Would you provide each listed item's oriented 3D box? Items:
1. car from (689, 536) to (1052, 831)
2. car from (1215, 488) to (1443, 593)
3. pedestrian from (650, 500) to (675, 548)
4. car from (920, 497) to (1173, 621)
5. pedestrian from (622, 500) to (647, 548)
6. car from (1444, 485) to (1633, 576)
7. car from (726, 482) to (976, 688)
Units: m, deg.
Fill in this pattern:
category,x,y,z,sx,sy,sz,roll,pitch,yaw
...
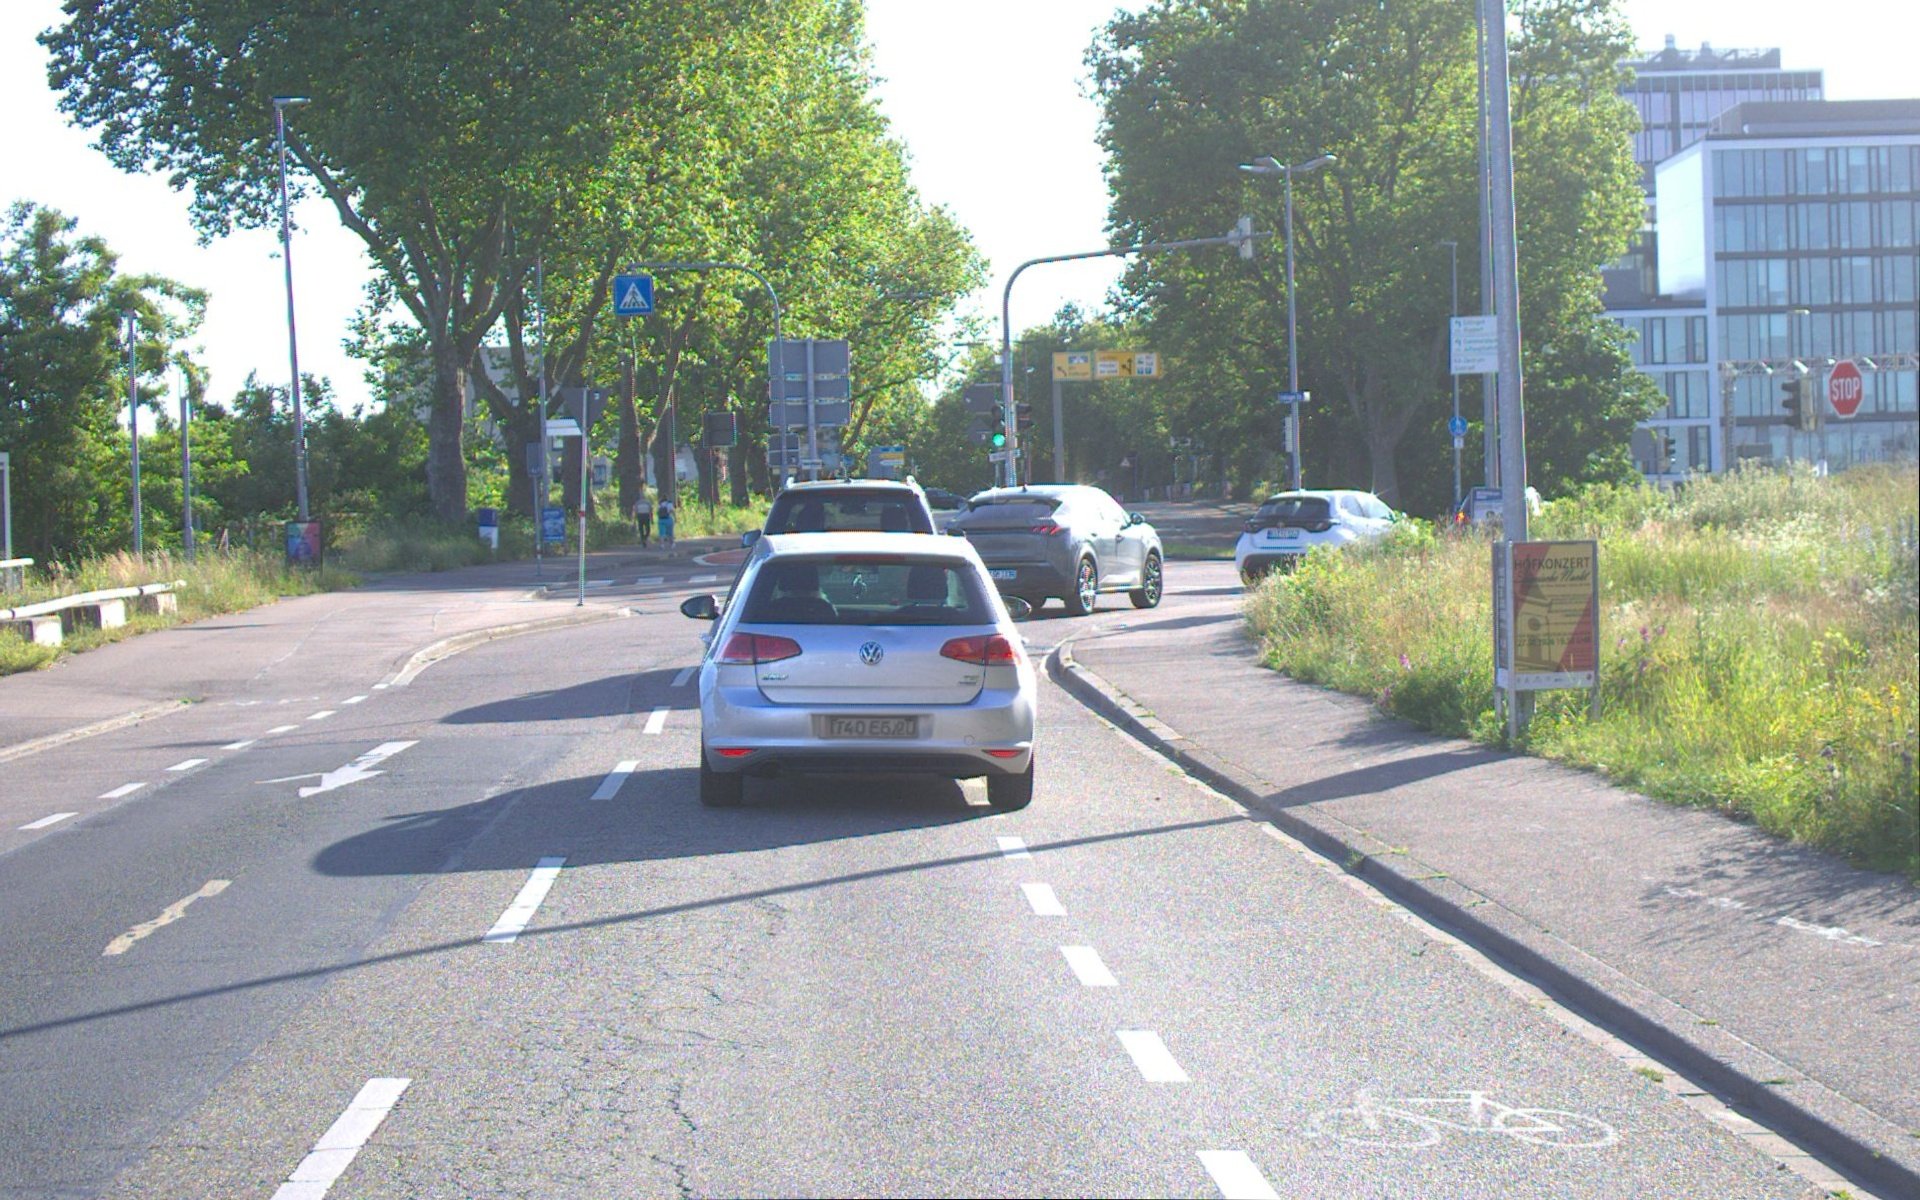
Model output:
category,x,y,z,sx,sy,sz,roll,pitch,yaw
car,-0.589,0.375,19.070,1.789,1.415,4.001,-1,1,-4
car,5.852,-0.955,54.171,1.902,1.590,3.992,0,2,34
pedestrian,-8.811,-2.263,101.875,0.678,1.410,0.684,-1,1,-2
car,1.180,-0.561,44.466,1.916,1.524,4.403,0,2,21
pedestrian,-9.648,-2.255,101.927,0.678,1.410,0.684,-1,1,-2
car,11.150,-1.342,66.051,2.167,1.678,3.993,0,2,33
car,-0.933,-0.191,31.914,1.819,1.762,4.629,0,1,4
